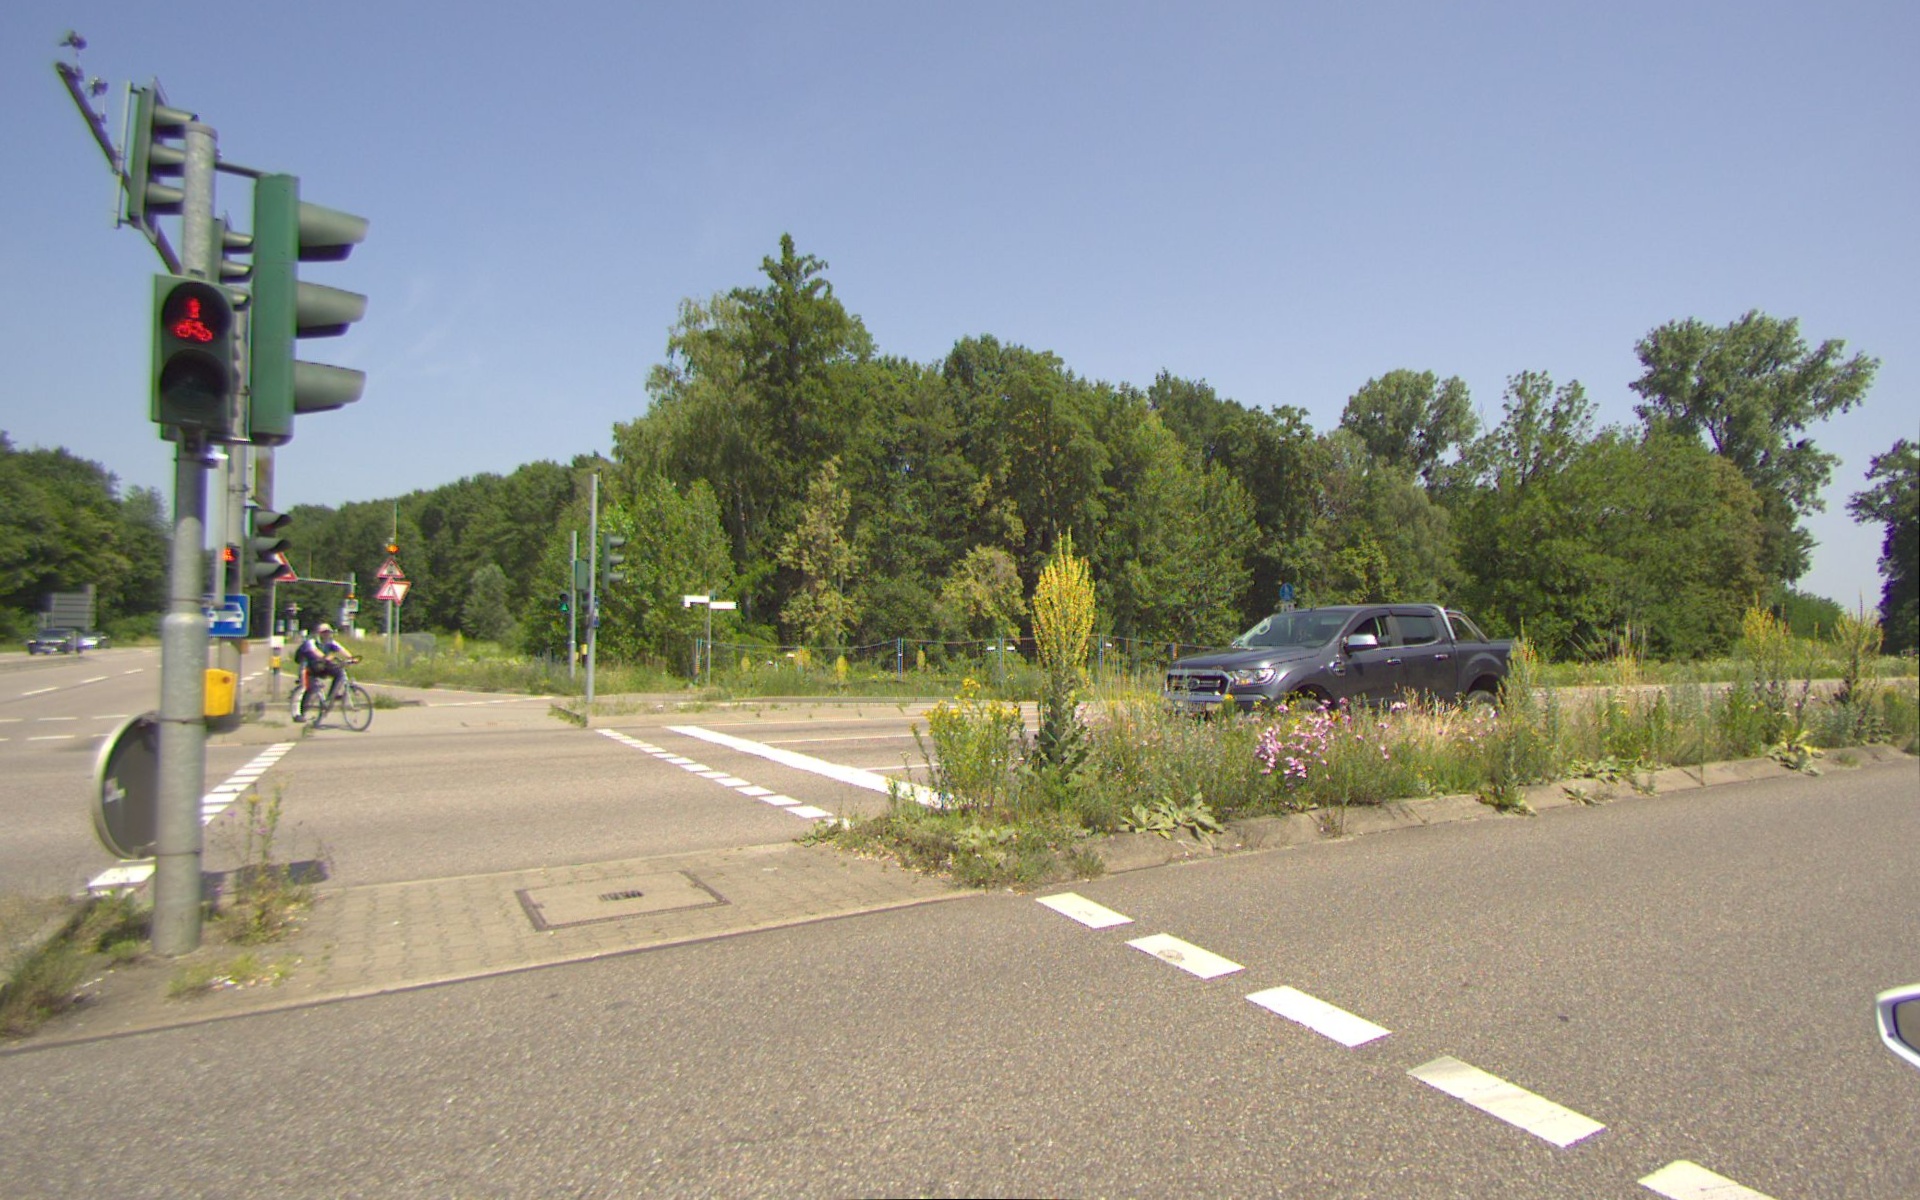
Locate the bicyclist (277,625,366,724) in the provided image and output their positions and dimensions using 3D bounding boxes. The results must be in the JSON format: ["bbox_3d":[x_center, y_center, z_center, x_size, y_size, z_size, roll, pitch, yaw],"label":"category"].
[{"bbox_3d":[-9.862,1.131,15.539,0.701,1.479,0.927,0,-2,8],"label":"bicyclist"}]

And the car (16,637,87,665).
[{"bbox_3d":[-56.854,3.179,62.963,1.973,1.657,4.791,1,-3,-26],"label":"car"}]

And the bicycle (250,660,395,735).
[{"bbox_3d":[-9.816,1.488,15.500,1.831,1.077,0.725,0,-2,8],"label":"bicycle"}]

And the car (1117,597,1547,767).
[{"bbox_3d":[4.632,0.930,12.285,5.300,1.699,1.985,2,-3,-29],"label":"car"}]
